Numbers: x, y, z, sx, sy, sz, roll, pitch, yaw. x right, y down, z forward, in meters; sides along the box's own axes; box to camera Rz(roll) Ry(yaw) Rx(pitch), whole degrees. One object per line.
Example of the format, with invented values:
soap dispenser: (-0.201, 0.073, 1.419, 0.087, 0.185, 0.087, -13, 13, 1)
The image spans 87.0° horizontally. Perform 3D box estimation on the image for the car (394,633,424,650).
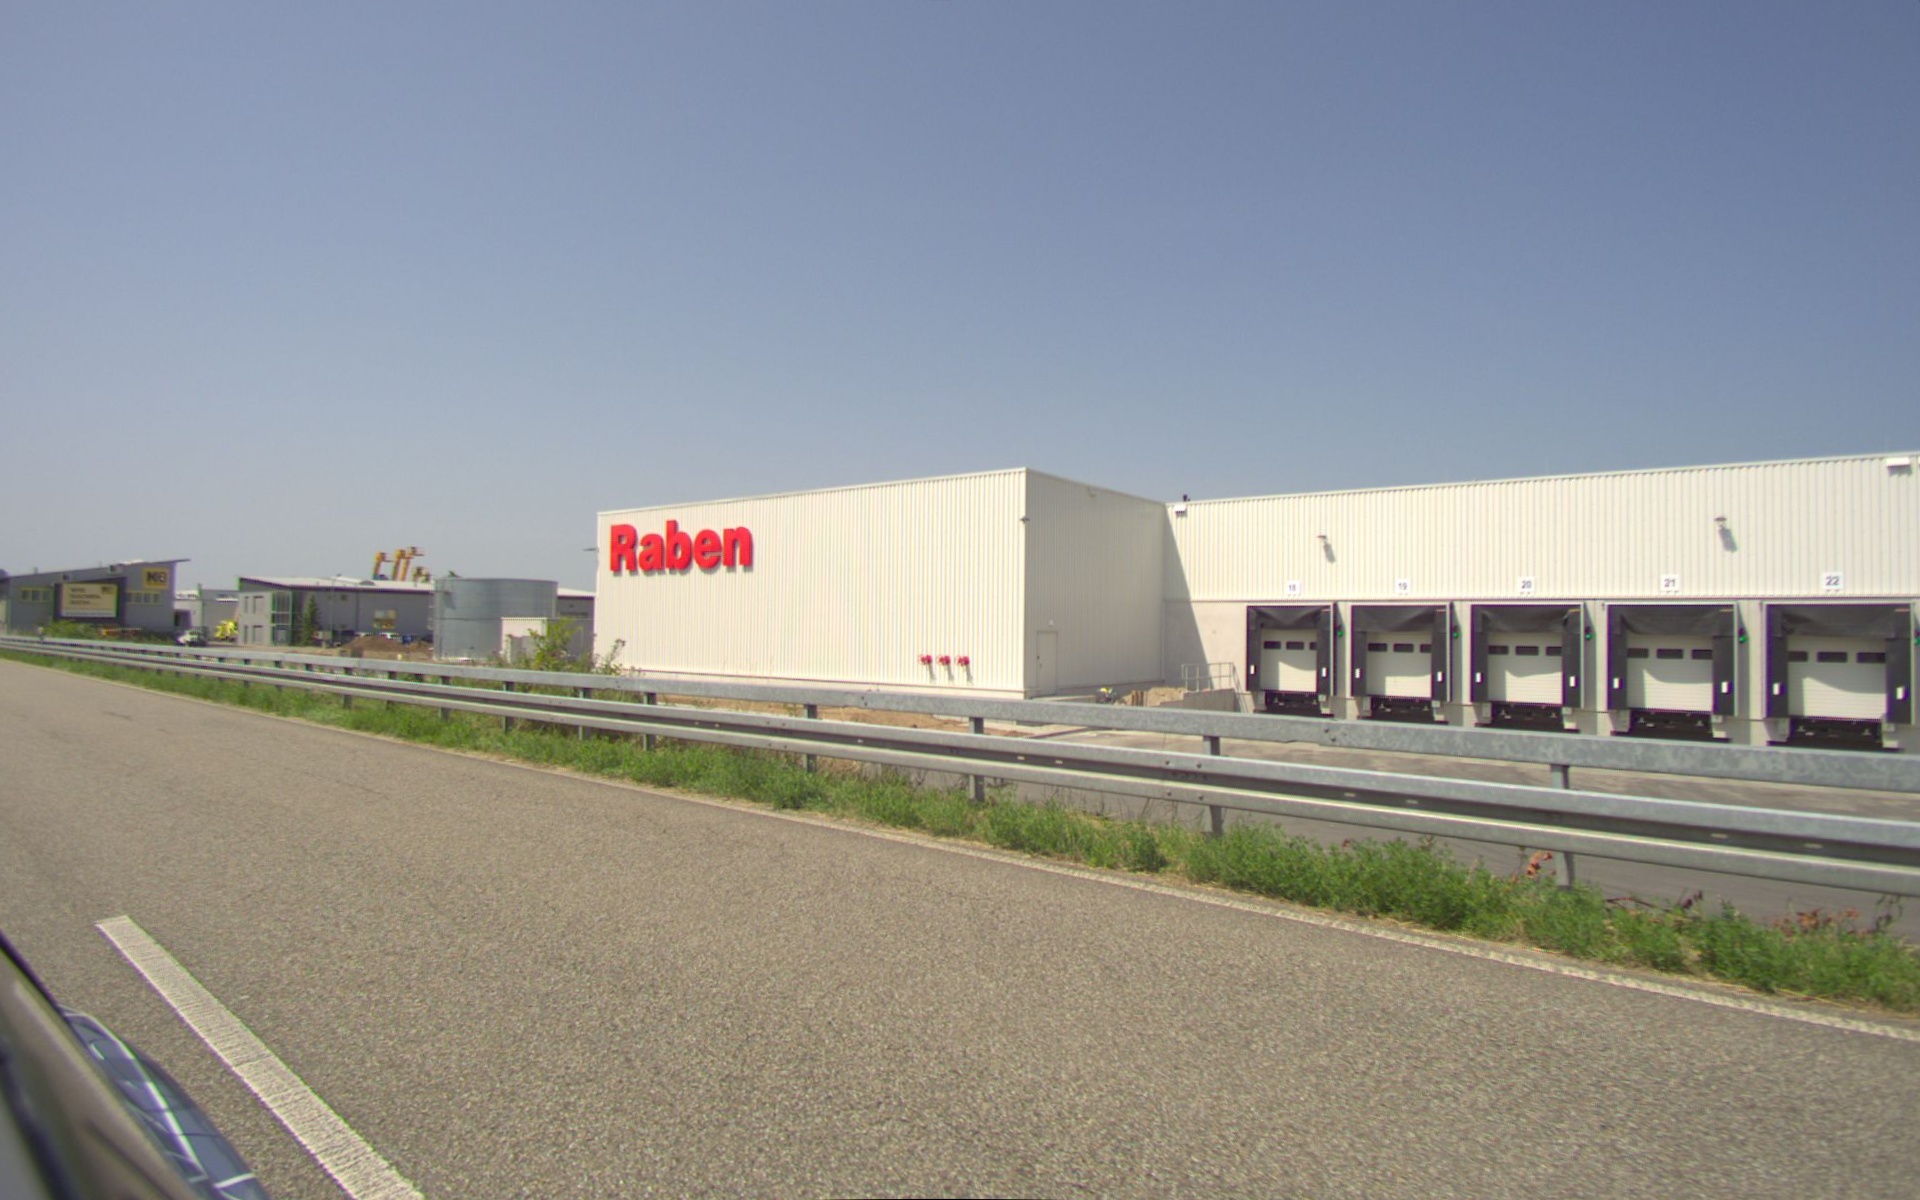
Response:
car: (-63.203, 4.770, 115.991, 3.687, 1.915, 1.810, -1, -4, 42)

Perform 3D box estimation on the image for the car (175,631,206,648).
car: (-75.721, 3.885, 99.590, 3.306, 1.686, 1.537, -1, -3, 36)

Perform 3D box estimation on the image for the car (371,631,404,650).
car: (-64.409, 4.555, 113.806, 3.997, 2.029, 1.973, -1, -1, 40)
